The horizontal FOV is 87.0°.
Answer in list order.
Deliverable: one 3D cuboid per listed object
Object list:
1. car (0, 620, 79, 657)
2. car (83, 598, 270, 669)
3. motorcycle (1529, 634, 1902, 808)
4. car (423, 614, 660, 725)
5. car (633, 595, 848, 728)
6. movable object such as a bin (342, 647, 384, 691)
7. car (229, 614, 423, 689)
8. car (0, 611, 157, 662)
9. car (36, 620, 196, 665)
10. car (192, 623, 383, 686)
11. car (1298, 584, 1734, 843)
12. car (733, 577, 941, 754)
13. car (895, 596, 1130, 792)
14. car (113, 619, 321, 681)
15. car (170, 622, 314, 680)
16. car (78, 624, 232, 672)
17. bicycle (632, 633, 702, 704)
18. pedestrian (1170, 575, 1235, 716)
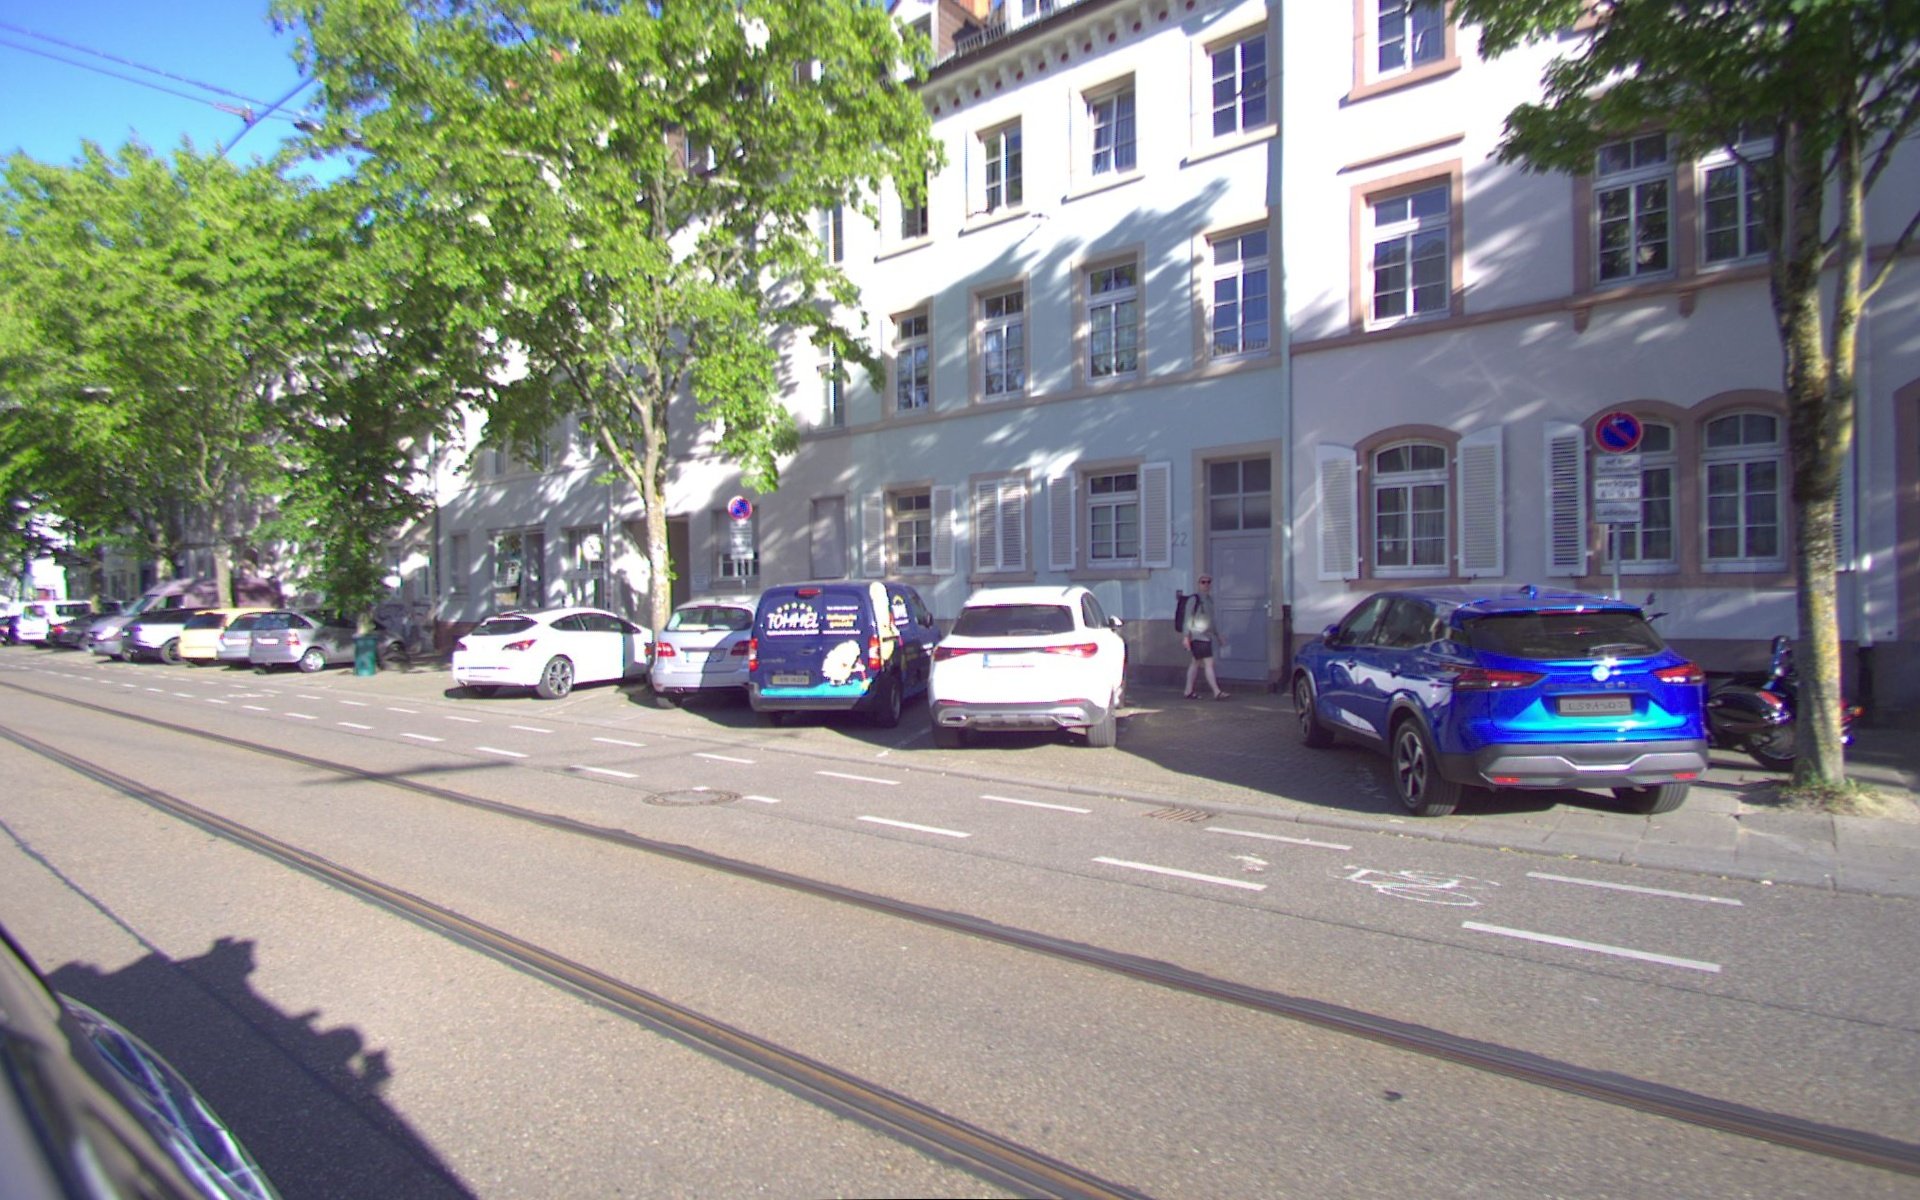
[{"bbox_3d":[-44.258,1.808,47.688,1.761,1.570,3.989,-1,0,9],"label":"car"},{"bbox_3d":[-25.275,1.020,32.762,2.160,2.134,4.396,-1,-1,37],"label":"car"},{"bbox_3d":[6.311,0.929,8.732,0.714,1.263,2.608,1,-2,-18],"label":"motorcycle"},{"bbox_3d":[-7.120,1.100,17.610,1.872,1.541,3.625,-1,2,19],"label":"car"},{"bbox_3d":[-3.217,0.840,15.707,1.791,1.669,3.987,-2,1,11],"label":"car"},{"bbox_3d":[-13.466,1.546,22.831,0.669,0.952,0.615,-1,-2,38],"label":"movable object such as a bin"},{"bbox_3d":[-15.811,1.227,25.477,1.689,1.689,3.975,-1,-1,19],"label":"car"},{"bbox_3d":[-37.494,1.513,43.108,2.056,2.029,4.915,-1,-1,15],"label":"car"},{"bbox_3d":[-34.269,1.683,41.208,1.949,1.588,4.655,-2,0,34],"label":"car"},{"bbox_3d":[-17.932,1.411,27.220,1.688,1.564,4.148,-1,-2,17],"label":"car"},{"bbox_3d":[4.165,0.688,8.361,1.552,1.621,3.900,0,1,2],"label":"car"},{"bbox_3d":[-1.467,0.723,13.386,1.715,1.856,3.435,-1,4,11],"label":"car"},{"bbox_3d":[0.740,0.909,11.922,2.182,1.808,4.931,-1,-1,6],"label":"car"},{"bbox_3d":[-22.909,1.476,31.378,2.160,1.737,4.784,-1,-1,37],"label":"car"},{"bbox_3d":[-20.481,1.417,29.019,1.370,1.565,3.362,-1,-1,11],"label":"car"},{"bbox_3d":[-29.056,1.695,36.669,1.660,1.464,4.067,-1,1,24],"label":"car"},{"bbox_3d":[-5.114,1.168,17.735,0.433,1.169,1.465,-1,-1,18],"label":"bicycle"},{"bbox_3d":[3.300,0.604,13.757,0.624,1.852,0.637,-1,-2,40],"label":"pedestrian"}]
